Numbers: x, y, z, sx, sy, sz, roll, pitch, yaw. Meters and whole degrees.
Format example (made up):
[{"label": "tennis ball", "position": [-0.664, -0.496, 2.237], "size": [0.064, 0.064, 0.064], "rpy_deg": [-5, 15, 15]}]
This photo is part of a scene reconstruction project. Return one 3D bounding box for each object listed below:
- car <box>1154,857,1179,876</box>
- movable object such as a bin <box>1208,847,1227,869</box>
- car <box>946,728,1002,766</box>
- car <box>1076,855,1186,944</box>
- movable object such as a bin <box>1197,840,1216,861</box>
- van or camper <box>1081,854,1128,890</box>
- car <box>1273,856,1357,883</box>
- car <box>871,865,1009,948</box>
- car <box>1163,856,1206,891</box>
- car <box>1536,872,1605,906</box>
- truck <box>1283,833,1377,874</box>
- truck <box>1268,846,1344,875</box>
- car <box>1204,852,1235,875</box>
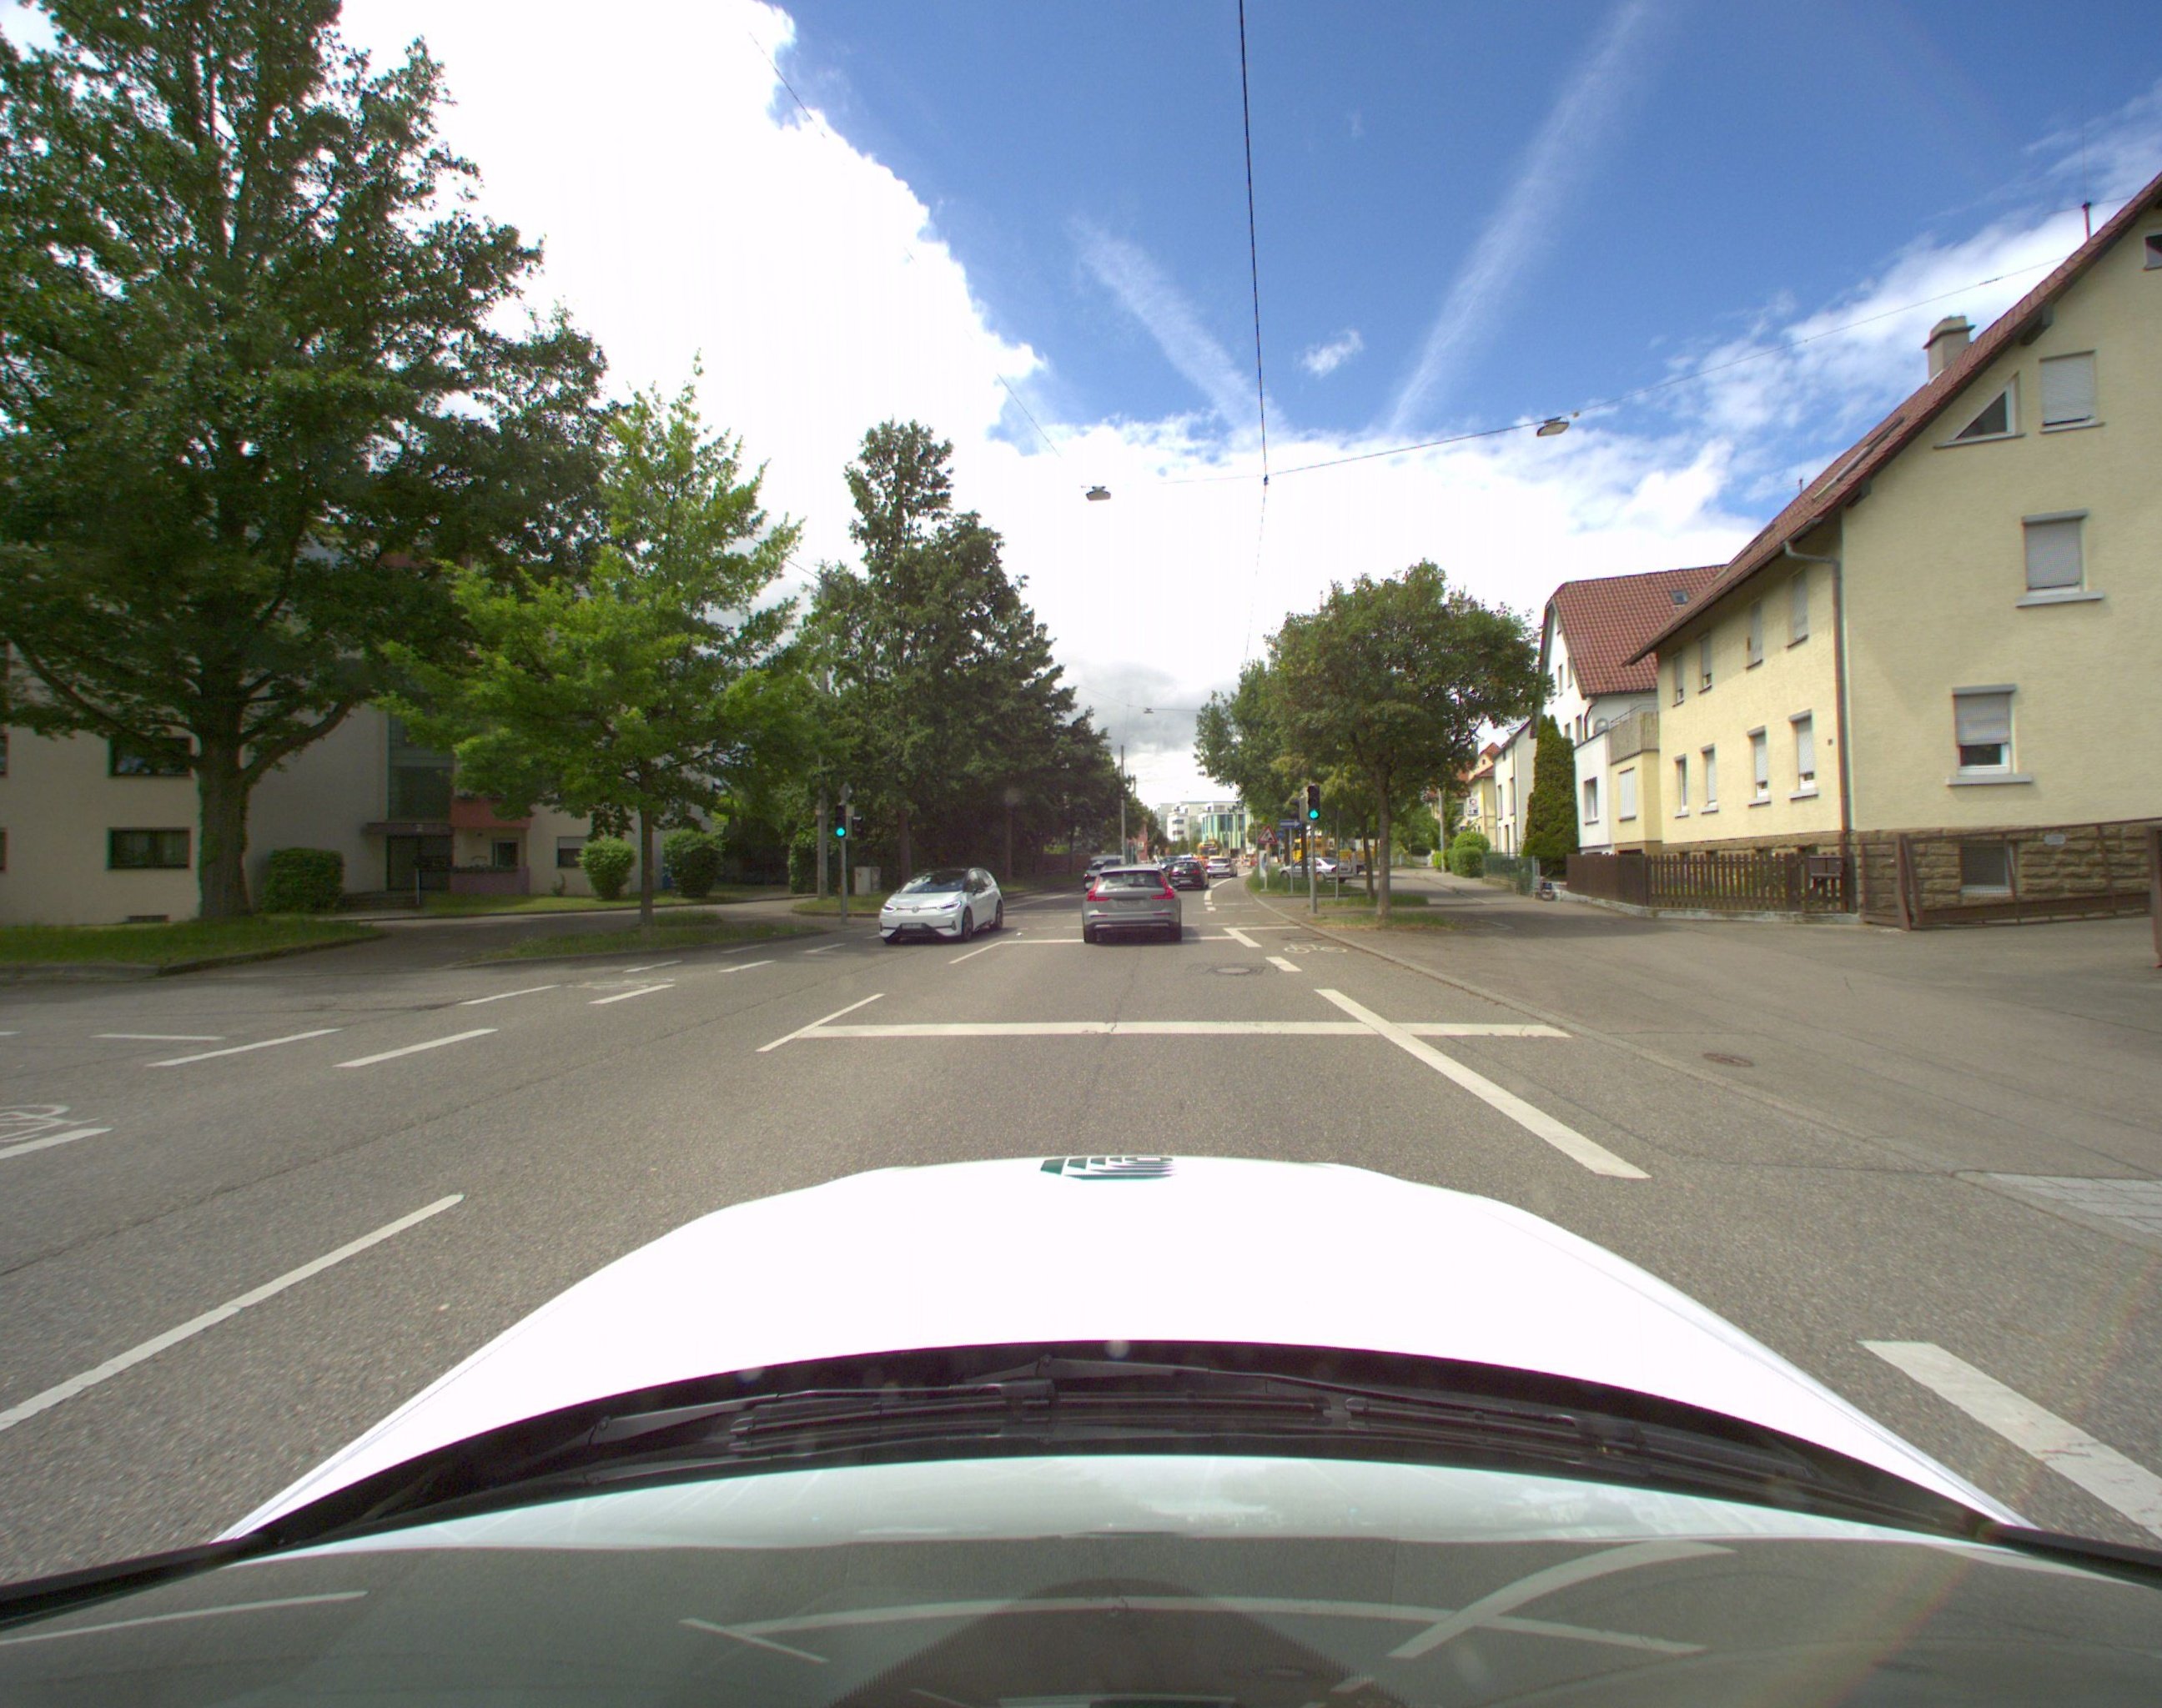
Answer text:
[{"label": "car", "position": [7.997, 1.164, 75.869], "size": [1.868, 1.687, 4.260], "rpy_deg": [-3, -1, 11]}, {"label": "movable object such as a bin", "position": [17.065, 0.502, 101.556], "size": [2.021, 2.643, 5.958], "rpy_deg": [-2, 0, 11]}, {"label": "car", "position": [-5.569, -5.587, 42.944], "size": [1.818, 1.330, 4.009], "rpy_deg": [1, -2, 9]}, {"label": "car", "position": [1.075, 0.848, 16.499], "size": [1.918, 1.540, 4.006], "rpy_deg": [-2, -1, 5]}, {"label": "movable object such as a bin", "position": [19.107, -0.500, 124.157], "size": [2.301, 2.990, 6.432], "rpy_deg": [-1, 0, 3]}, {"label": "van or camper", "position": [1.310, 0.913, 43.096], "size": [1.849, 1.776, 4.392], "rpy_deg": [-1, 0, 10]}, {"label": "car", "position": [13.320, 0.840, 46.591], "size": [1.774, 1.452, 4.642], "rpy_deg": [0, 0, -32]}, {"label": "car", "position": [-2.989, 1.092, 18.139], "size": [1.889, 1.580, 4.007], "rpy_deg": [-2, -2, 7]}, {"label": "car", "position": [4.947, 0.925, 39.247], "size": [1.655, 1.508, 3.704], "rpy_deg": [-4, -1, 2]}, {"label": "car", "position": [17.749, 1.251, 29.674], "size": [1.450, 1.125, 3.891], "rpy_deg": [1, -1, 20]}, {"label": "truck", "position": [19.172, -0.010, 63.045], "size": [2.781, 3.008, 6.635], "rpy_deg": [2, -2, -34]}, {"label": "truck", "position": [16.870, 0.503, 61.347], "size": [2.007, 2.014, 5.618], "rpy_deg": [2, -2, -33]}, {"label": "car", "position": [9.782, 0.684, 57.411], "size": [2.089, 1.510, 4.011], "rpy_deg": [1, -1, 10]}]
